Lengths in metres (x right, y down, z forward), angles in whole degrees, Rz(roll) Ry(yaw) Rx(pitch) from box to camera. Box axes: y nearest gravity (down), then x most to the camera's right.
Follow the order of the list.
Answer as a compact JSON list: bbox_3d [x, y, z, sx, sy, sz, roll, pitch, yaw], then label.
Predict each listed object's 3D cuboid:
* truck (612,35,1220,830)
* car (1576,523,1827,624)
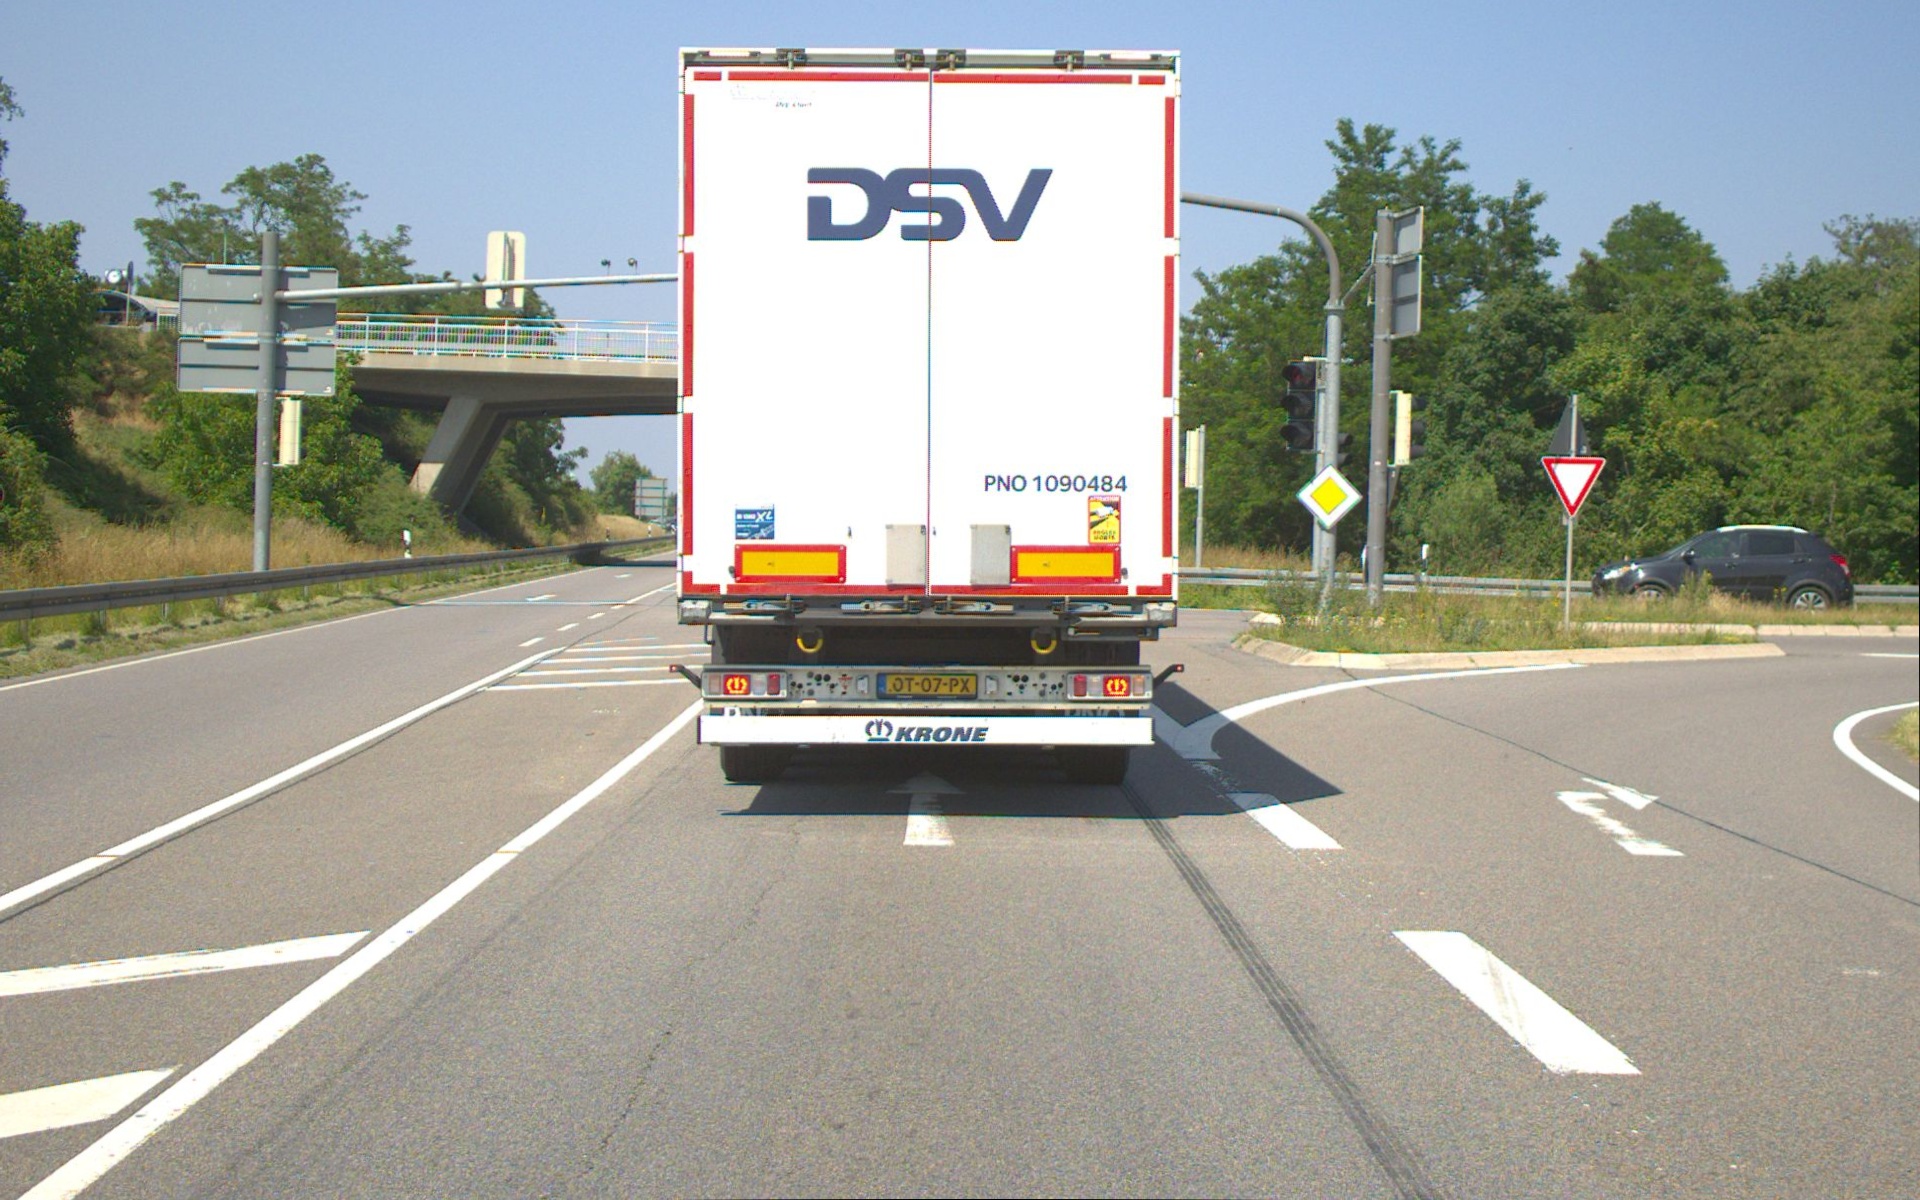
[{"bbox_3d":[-0.260,-0.907,22.106,2.987,3.928,9.876,1,1,0],"label":"truck"},{"bbox_3d":[12.582,-0.454,58.516,3.986,1.634,1.841,1,0,6],"label":"car"}]
